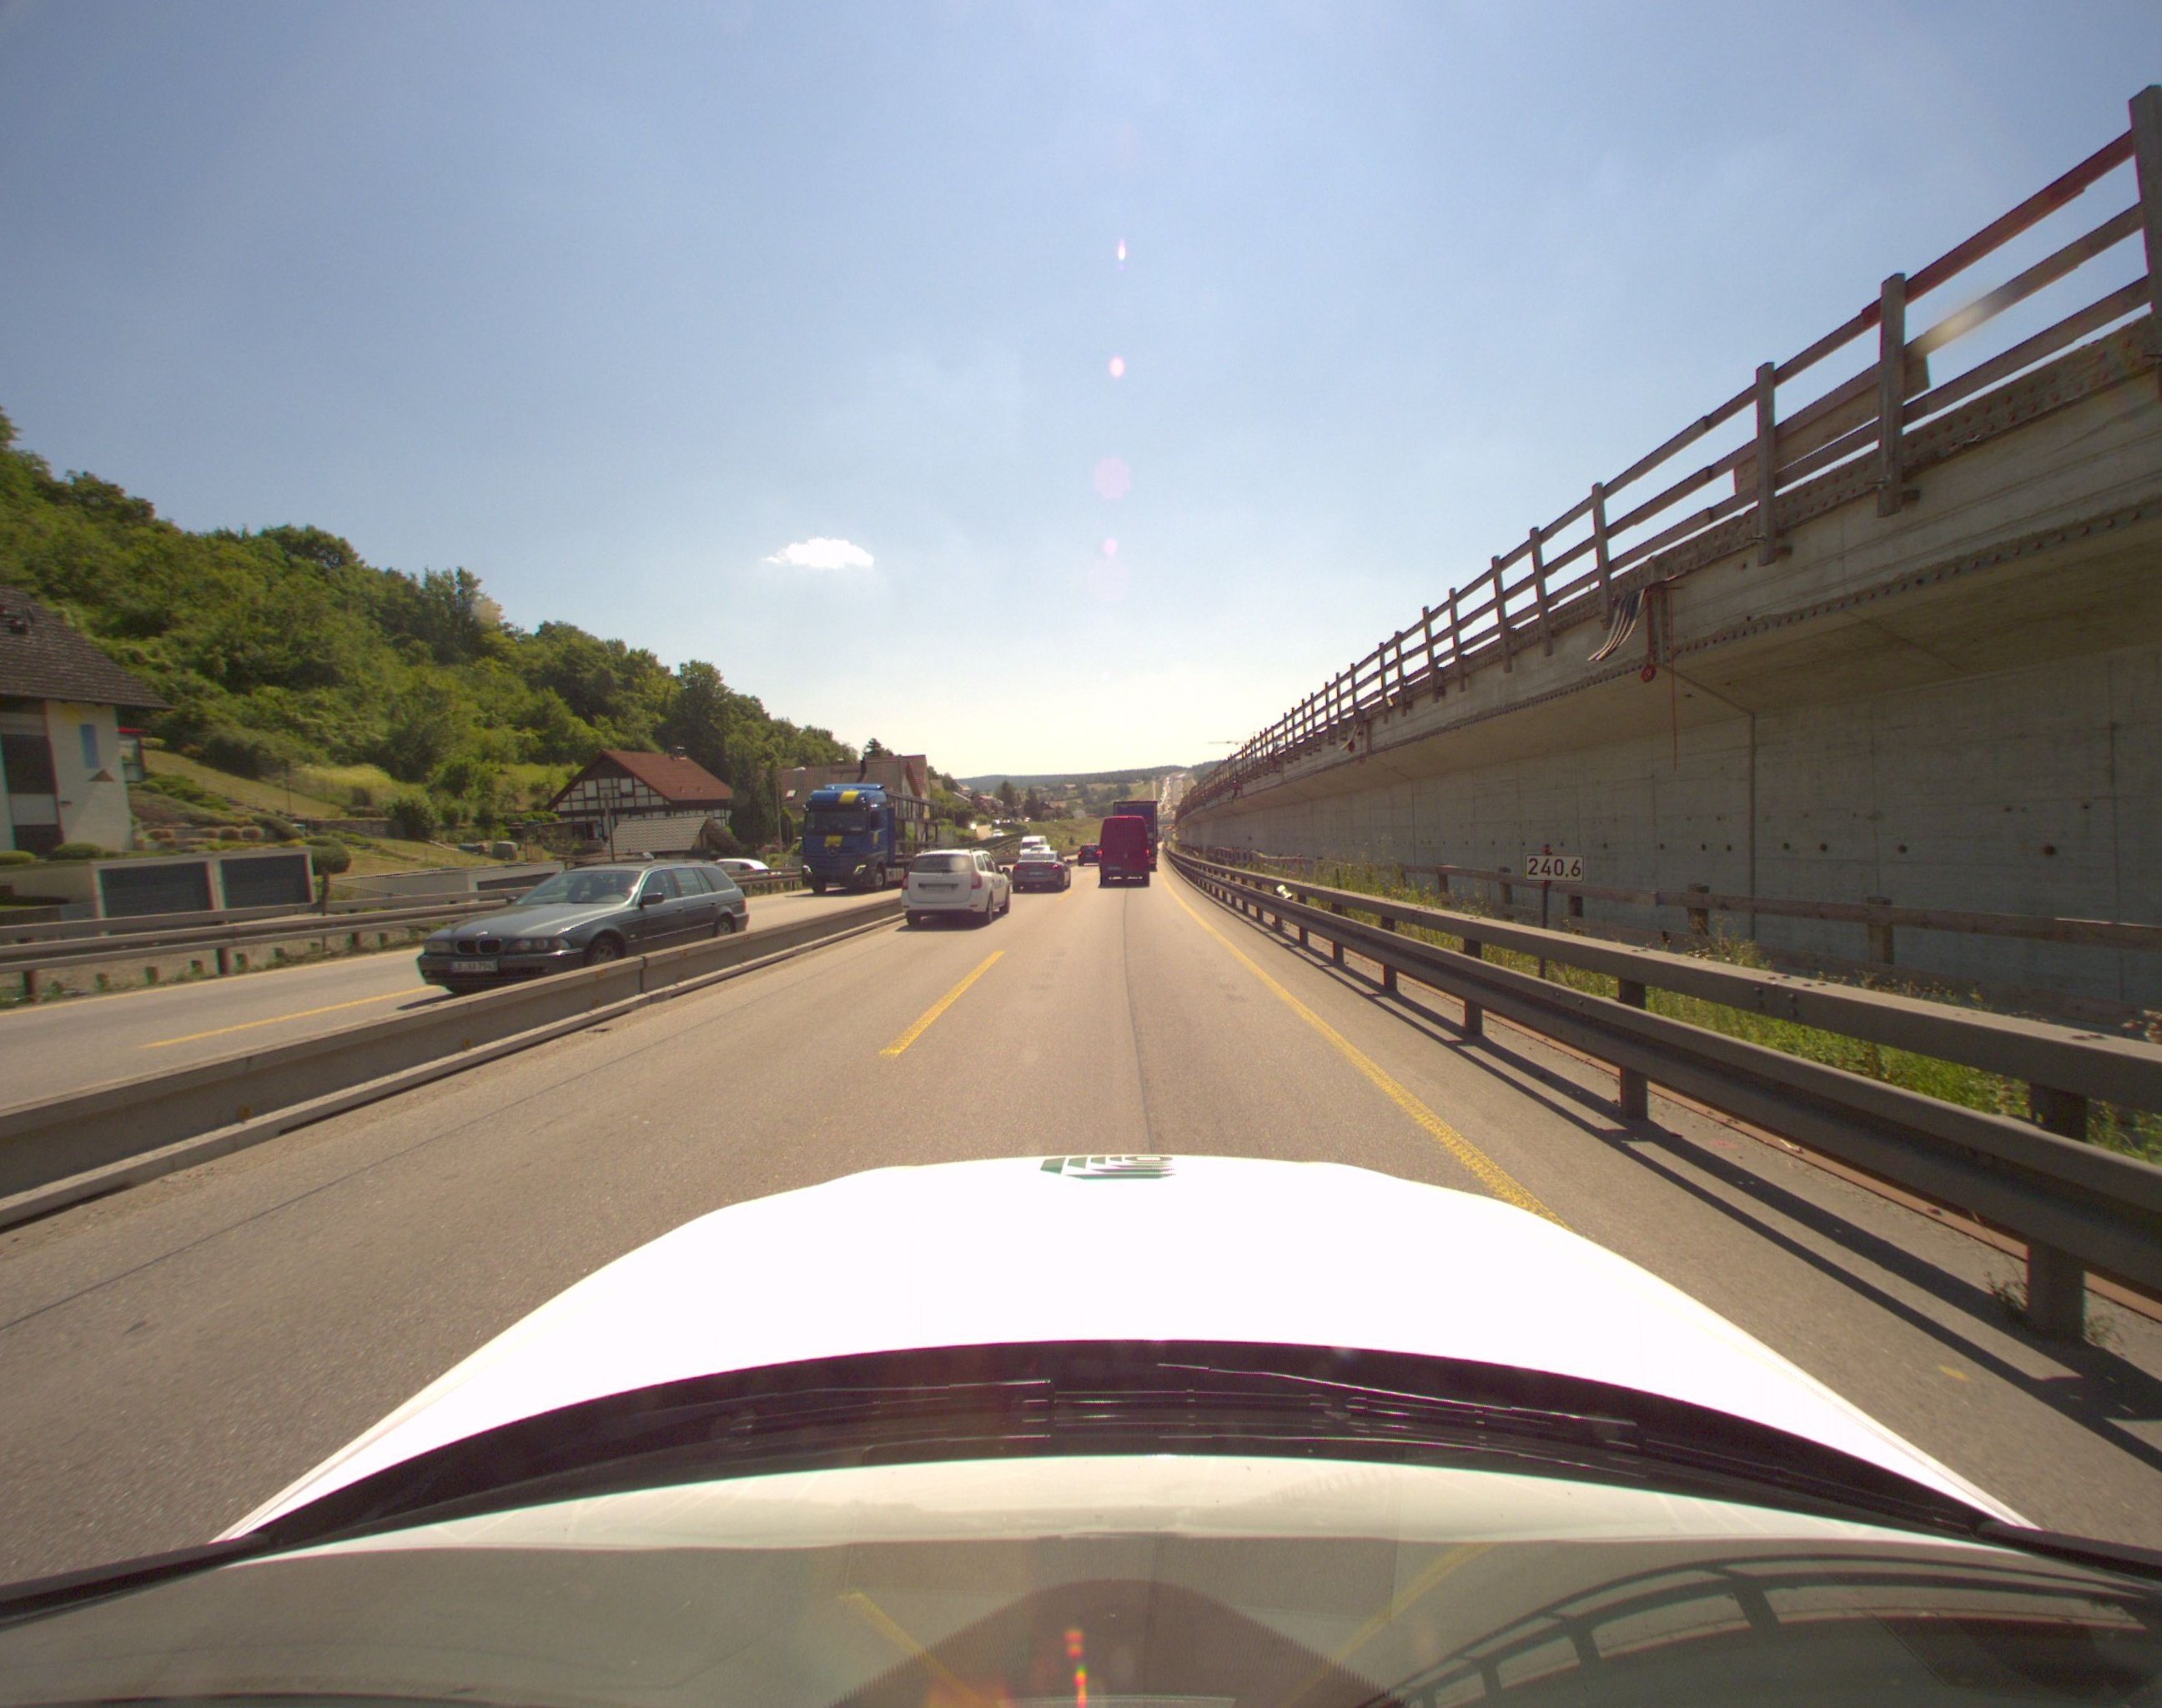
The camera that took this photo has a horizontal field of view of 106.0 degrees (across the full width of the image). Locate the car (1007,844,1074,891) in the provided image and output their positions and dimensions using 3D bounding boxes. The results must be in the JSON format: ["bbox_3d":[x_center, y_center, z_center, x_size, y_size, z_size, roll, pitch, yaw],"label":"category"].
[{"bbox_3d":[-1.369,0.478,28.962,1.786,1.485,4.055,-2,-1,5],"label":"car"}]

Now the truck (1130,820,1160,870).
[{"bbox_3d":[6.482,-0.784,83.997,2.774,4.816,9.692,-2,-1,3],"label":"truck"}]

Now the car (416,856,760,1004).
[{"bbox_3d":[-6.062,0.803,10.805,1.538,1.464,4.632,-1,0,3],"label":"car"}]

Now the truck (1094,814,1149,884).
[{"bbox_3d":[1.669,-0.149,32.643,1.985,2.579,4.004,-2,-1,4],"label":"truck"}]

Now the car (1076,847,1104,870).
[{"bbox_3d":[0.717,0.337,61.058,1.802,1.608,3.723,-2,-1,4],"label":"car"}]

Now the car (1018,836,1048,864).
[{"bbox_3d":[-4.497,-0.374,77.704,1.984,2.507,5.522,-2,-1,5],"label":"car"}]

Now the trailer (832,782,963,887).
[{"bbox_3d":[-7.845,-0.690,36.822,2.497,3.965,11.410,-2,-1,4],"label":"trailer"}]

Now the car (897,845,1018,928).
[{"bbox_3d":[-2.521,0.634,17.603,1.645,1.483,4.270,-4,-1,3],"label":"car"}]

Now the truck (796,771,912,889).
[{"bbox_3d":[-8.276,-0.758,30.354,2.497,3.965,5.180,-1,-1,4],"label":"truck"}]

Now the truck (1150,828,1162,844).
[{"bbox_3d":[22.874,-5.447,248.470,3.449,4.381,8.572,-2,-1,7],"label":"truck"}]

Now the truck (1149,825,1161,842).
[{"bbox_3d":[20.797,-5.798,227.840,3.053,4.381,8.572,-2,-1,7],"label":"truck"}]

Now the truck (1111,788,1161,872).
[{"bbox_3d":[3.439,-1.293,52.031,2.774,4.816,9.692,-2,-1,3],"label":"truck"}]
